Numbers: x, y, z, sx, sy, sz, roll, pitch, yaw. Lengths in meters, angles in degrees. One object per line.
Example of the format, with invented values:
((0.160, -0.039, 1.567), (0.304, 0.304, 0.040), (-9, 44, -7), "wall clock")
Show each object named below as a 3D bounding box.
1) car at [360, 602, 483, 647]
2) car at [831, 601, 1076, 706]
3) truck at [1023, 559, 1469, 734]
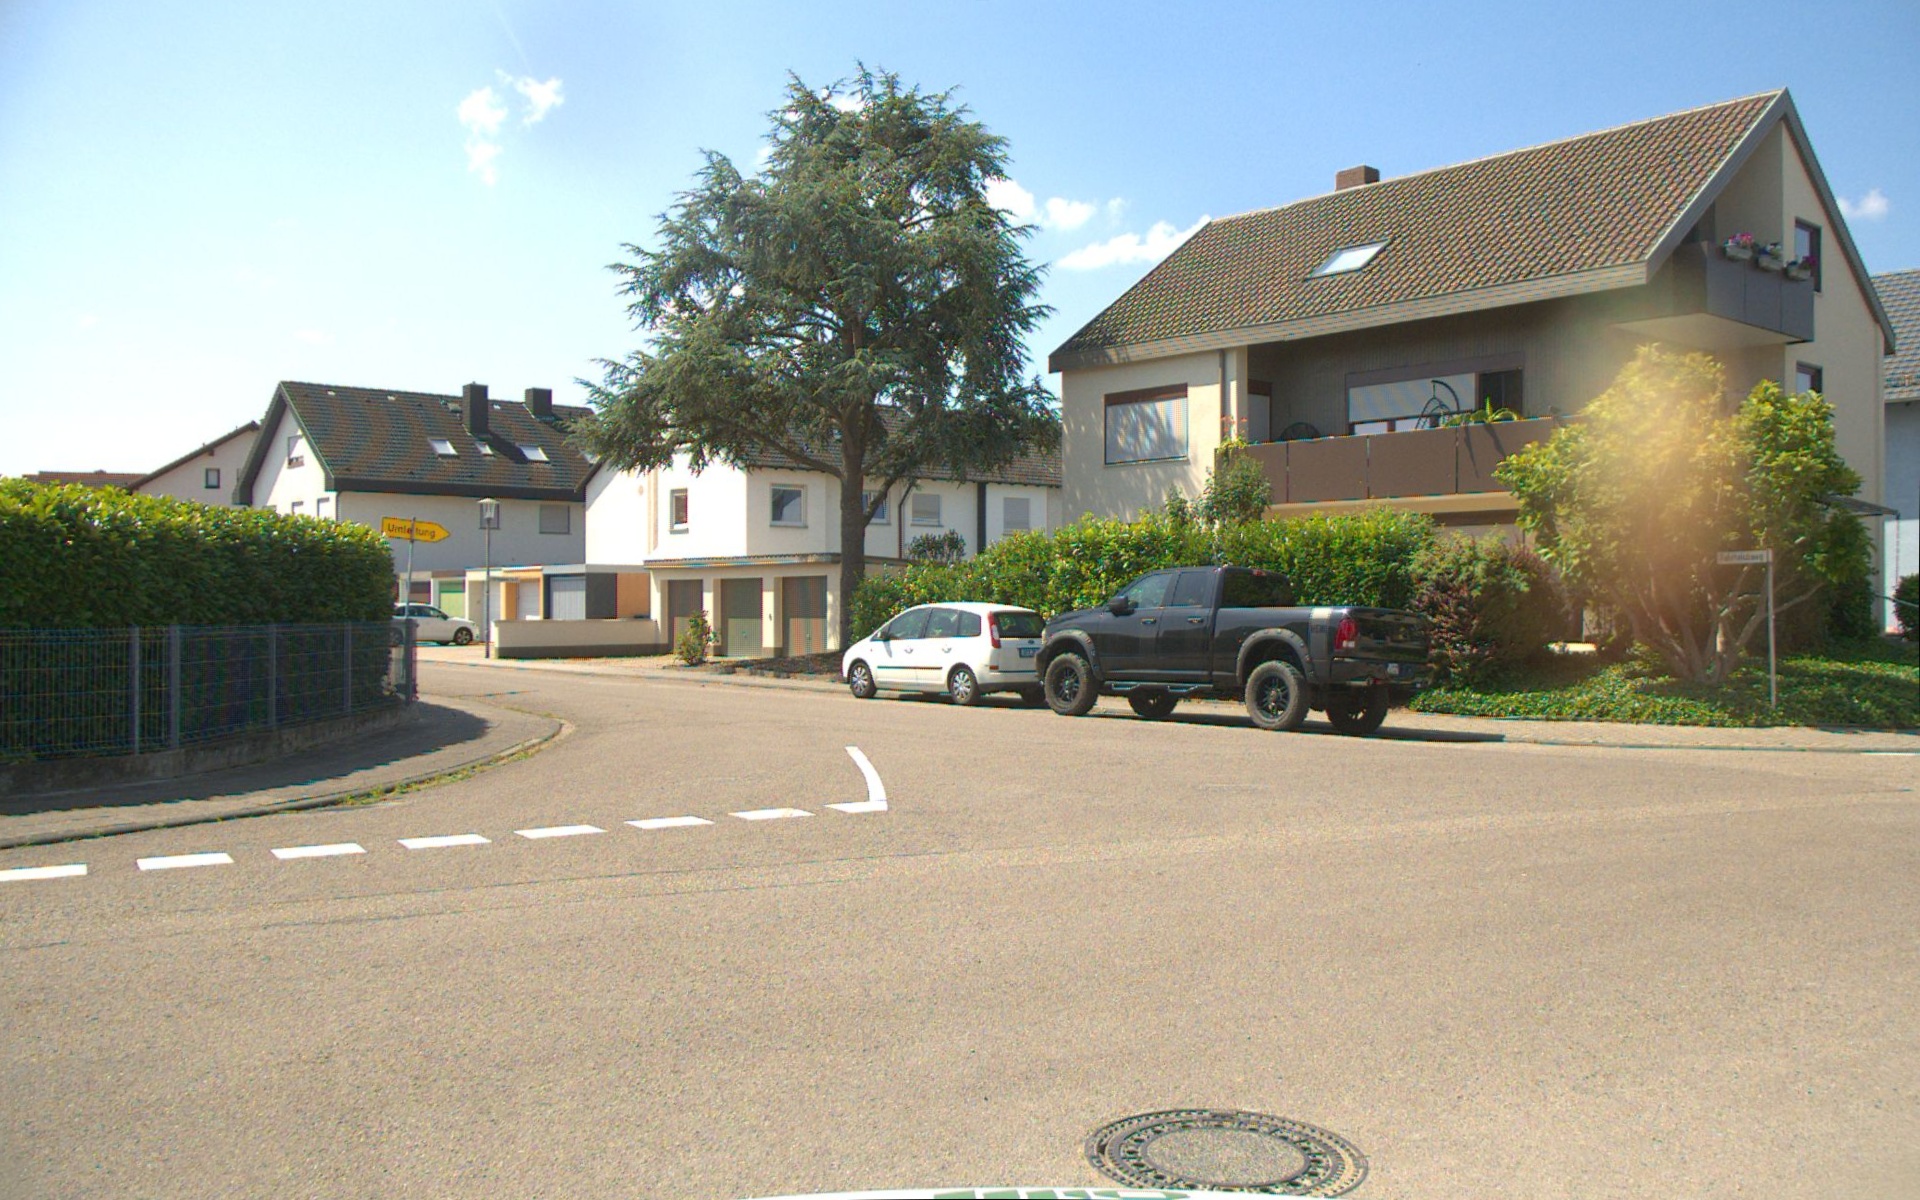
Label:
((-18.068, 0.800, 55.571), (3.579, 1.433, 1.757), (0, 0, -41), "car")
((-0.166, 0.816, 27.306), (1.789, 1.590, 4.078), (0, 0, -43), "car")
((3.681, 0.590, 22.188), (2.353, 2.049, 5.621), (3, -2, -44), "truck")
